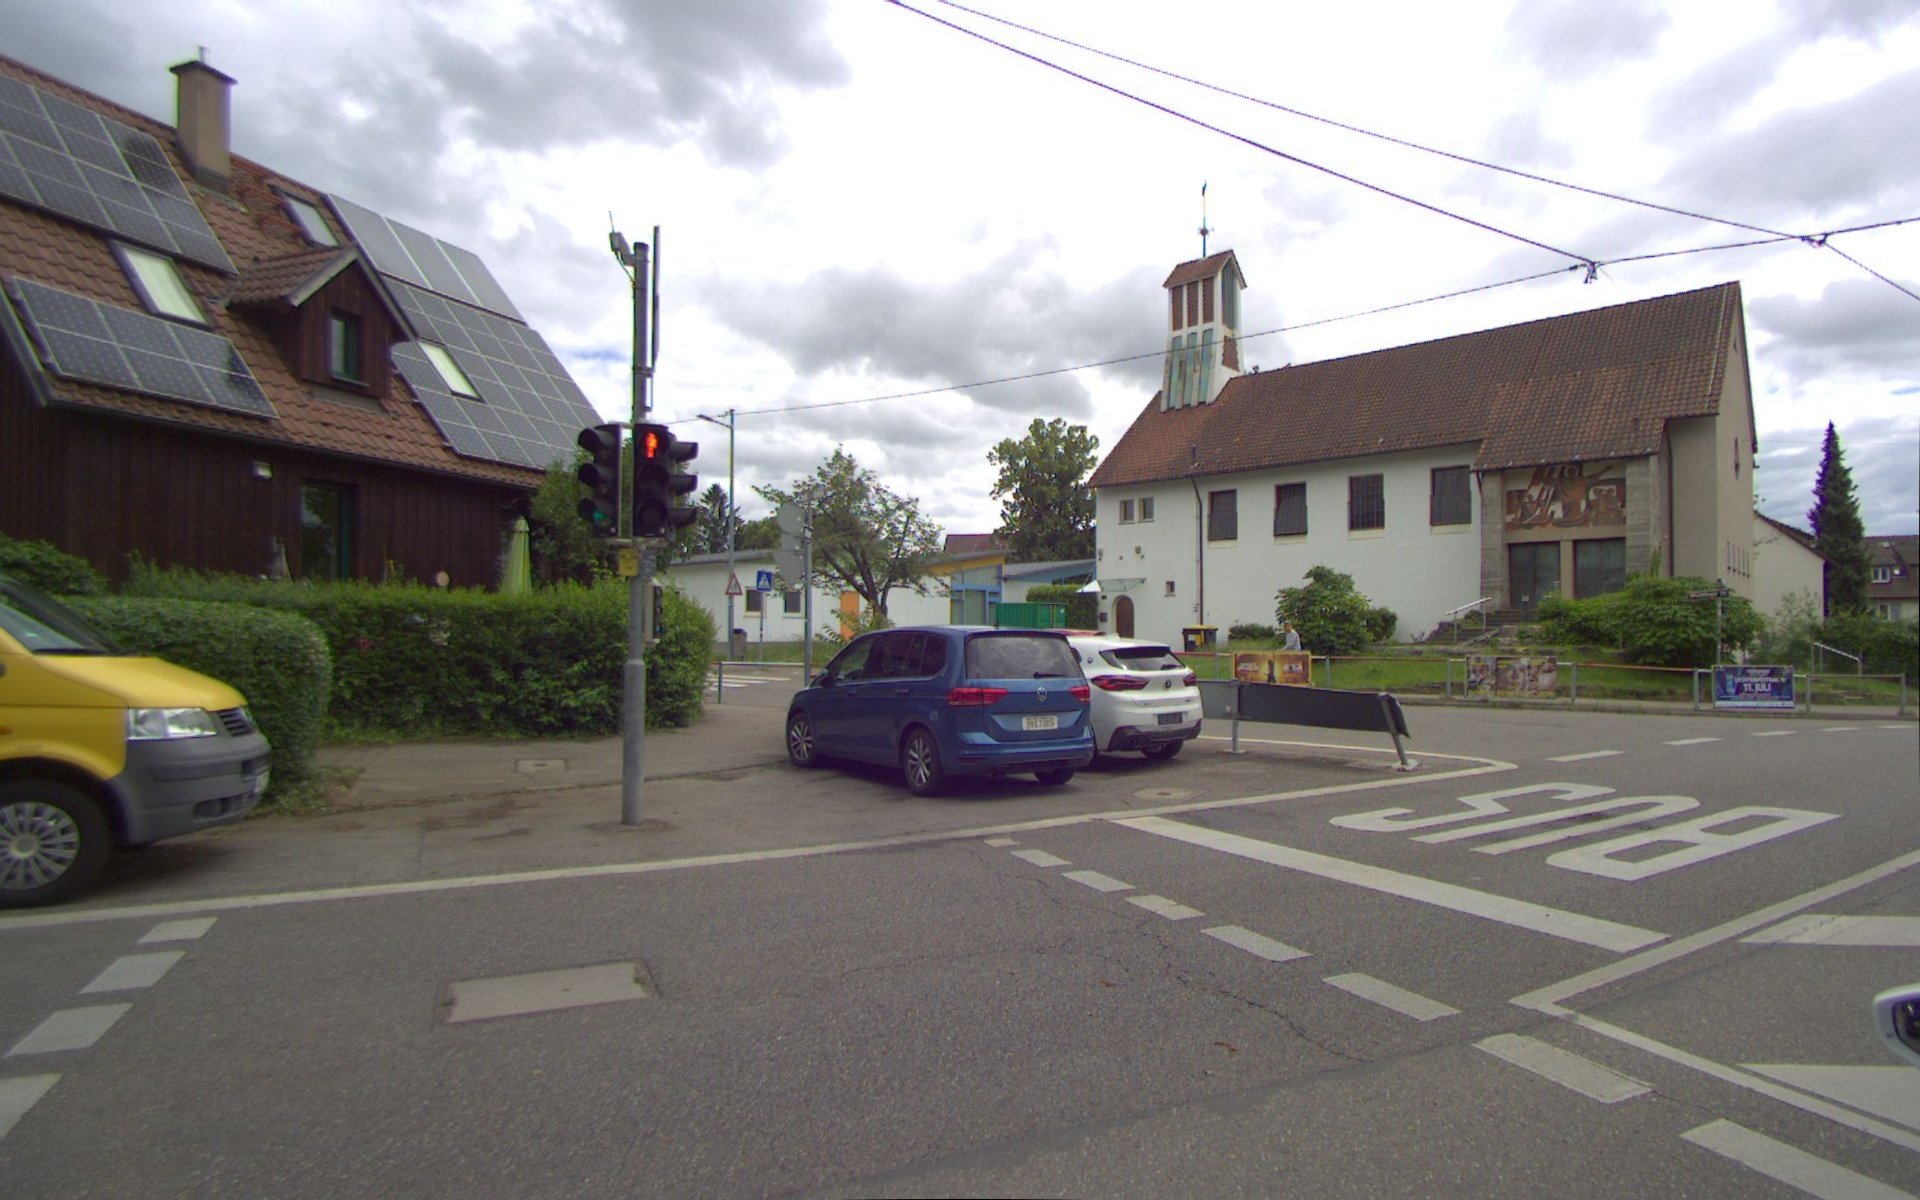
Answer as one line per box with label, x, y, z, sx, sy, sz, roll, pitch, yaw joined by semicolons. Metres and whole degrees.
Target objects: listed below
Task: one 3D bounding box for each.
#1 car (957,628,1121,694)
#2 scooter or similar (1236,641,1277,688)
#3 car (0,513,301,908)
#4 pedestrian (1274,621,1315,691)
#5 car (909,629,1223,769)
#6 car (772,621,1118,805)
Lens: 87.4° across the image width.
car;1.923;1.445;24.395;3.613;1.509;1.774;-1;-2;22
scooter or similar;7.371;1.606;25.018;0.871;1.109;0.613;2;-1;9
car;-6.523;0.545;5.379;4.739;2.015;1.910;2;-3;-27
pedestrian;8.285;1.366;24.897;0.814;1.674;0.690;2;-1;8
car;1.207;1.134;12.826;1.830;1.491;3.862;2;-2;-39
car;-0.372;1.046;10.845;1.826;1.567;4.141;1;-2;-33
